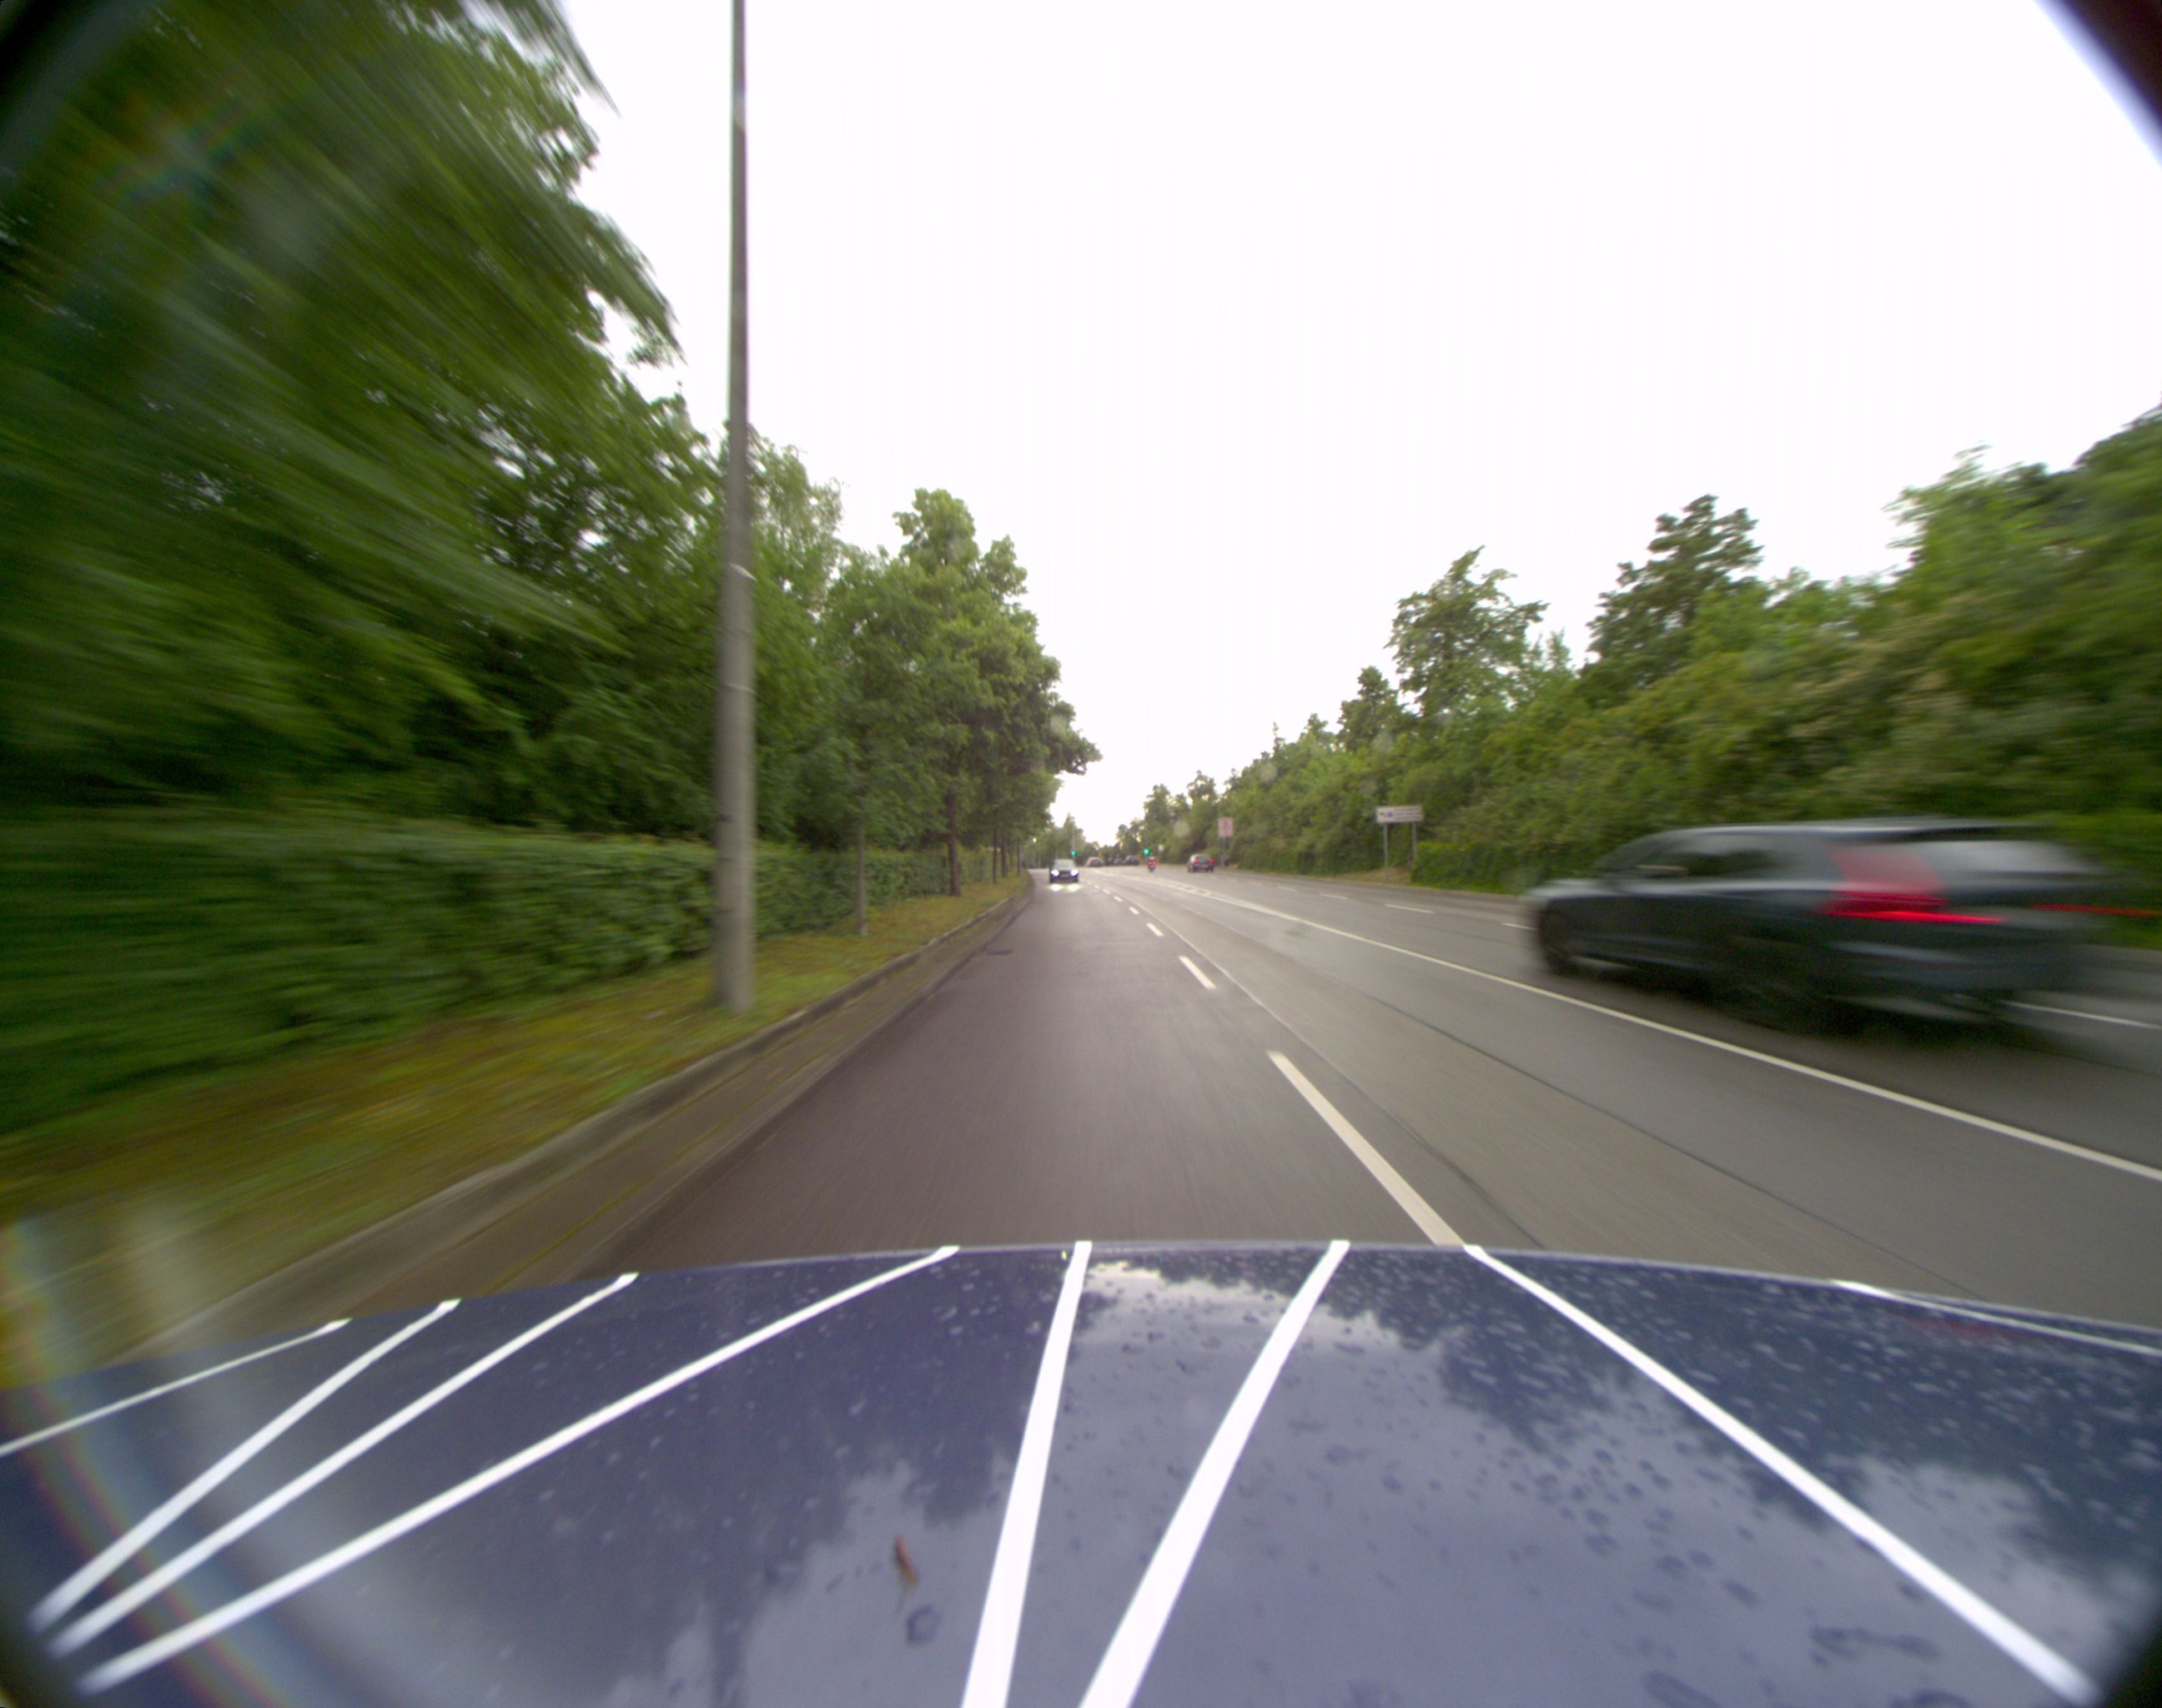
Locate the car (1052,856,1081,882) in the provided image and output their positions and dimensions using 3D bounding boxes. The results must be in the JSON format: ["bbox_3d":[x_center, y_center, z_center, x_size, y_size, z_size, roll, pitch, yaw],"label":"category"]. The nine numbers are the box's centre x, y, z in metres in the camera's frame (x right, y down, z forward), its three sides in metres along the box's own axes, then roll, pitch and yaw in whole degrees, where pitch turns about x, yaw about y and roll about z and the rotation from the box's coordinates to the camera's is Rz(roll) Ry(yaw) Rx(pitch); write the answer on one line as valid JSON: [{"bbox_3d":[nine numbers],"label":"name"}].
[{"bbox_3d":[-0.937,0.958,49.272,1.738,1.577,4.285,-2,0,-2],"label":"car"}]

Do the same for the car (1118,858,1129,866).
[{"bbox_3d":[8.060,1.514,143.043,1.679,1.459,3.861,-2,0,-2],"label":"car"}]

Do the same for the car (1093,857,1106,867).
[{"bbox_3d":[2.828,1.267,116.028,1.782,1.459,3.996,-2,0,-2],"label":"car"}]

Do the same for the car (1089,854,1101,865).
[{"bbox_3d":[2.373,0.933,129.467,1.891,1.646,4.449,-2,0,-2],"label":"car"}]

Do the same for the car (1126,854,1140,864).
[{"bbox_3d":[8.564,0.754,124.492,1.805,1.597,4.427,-2,0,-1],"label":"car"}]

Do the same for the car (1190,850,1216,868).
[{"bbox_3d":[9.883,0.393,61.859,1.552,1.429,3.696,-2,1,1],"label":"car"}]

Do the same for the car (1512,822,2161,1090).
[{"bbox_3d":[6.246,0.643,7.117,1.817,1.648,4.595,-2,0,1],"label":"car"}]

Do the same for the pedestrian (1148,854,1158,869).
[{"bbox_3d":[6.560,0.682,69.099,0.793,1.375,0.974,-3,1,0],"label":"pedestrian"}]

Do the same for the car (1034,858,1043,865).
[{"bbox_3d":[-9.099,1.564,162.163,1.738,1.577,4.285,-2,0,-2],"label":"car"}]

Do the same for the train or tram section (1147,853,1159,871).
[{"bbox_3d":[6.563,0.682,69.103,0.793,1.561,2.383,-3,0,0],"label":"train or tram section"}]
